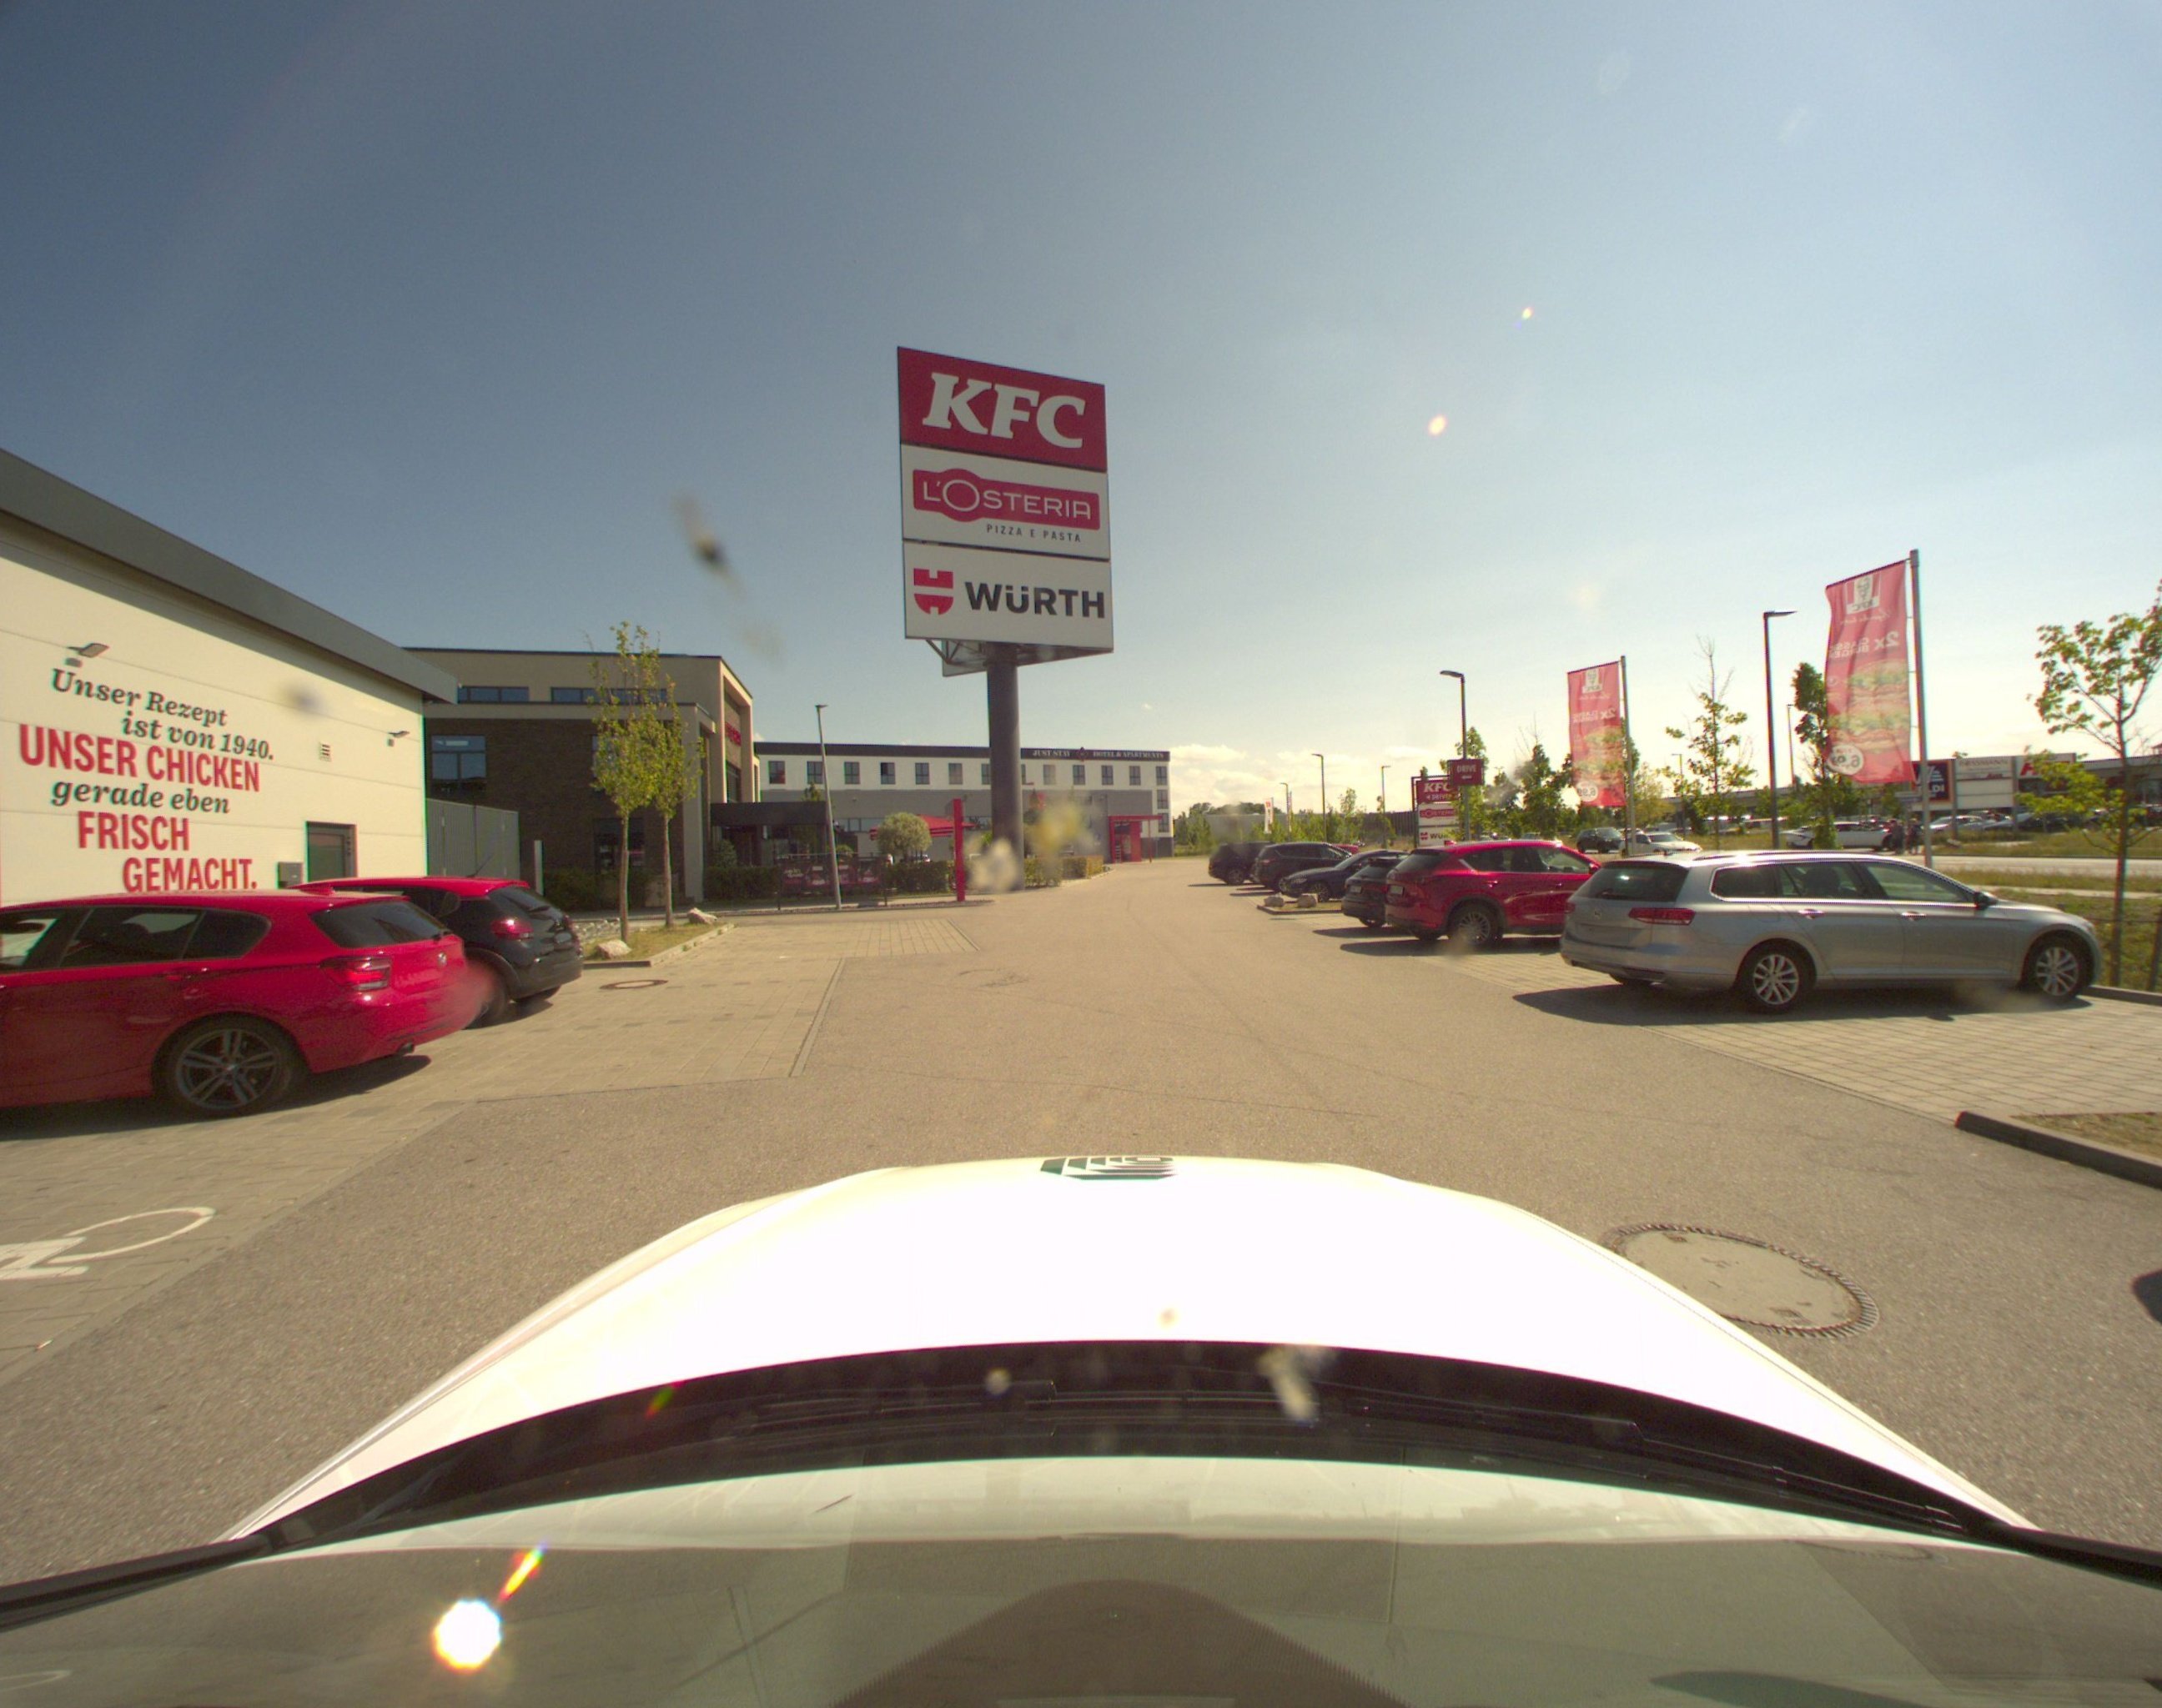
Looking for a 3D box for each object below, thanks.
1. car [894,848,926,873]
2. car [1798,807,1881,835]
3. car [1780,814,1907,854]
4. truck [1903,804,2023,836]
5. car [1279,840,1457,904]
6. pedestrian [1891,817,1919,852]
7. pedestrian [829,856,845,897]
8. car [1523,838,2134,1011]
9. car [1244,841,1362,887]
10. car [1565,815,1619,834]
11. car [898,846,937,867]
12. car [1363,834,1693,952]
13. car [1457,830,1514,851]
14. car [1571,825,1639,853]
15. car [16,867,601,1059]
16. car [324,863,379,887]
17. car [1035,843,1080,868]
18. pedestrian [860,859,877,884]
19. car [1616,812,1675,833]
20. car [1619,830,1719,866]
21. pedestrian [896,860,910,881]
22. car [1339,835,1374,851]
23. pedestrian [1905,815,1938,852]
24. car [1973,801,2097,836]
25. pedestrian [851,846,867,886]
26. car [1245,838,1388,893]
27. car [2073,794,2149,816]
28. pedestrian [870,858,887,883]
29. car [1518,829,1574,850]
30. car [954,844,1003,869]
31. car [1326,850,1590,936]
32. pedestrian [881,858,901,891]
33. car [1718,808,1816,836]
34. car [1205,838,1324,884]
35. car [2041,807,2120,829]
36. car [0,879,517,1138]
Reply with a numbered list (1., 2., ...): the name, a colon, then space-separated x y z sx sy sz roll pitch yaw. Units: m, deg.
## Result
1. car: -9.687 0.372 46.281 1.643 1.308 3.827 -2 0 -11
2. car: 61.537 -2.666 66.118 5.153 2.013 1.997 -2 1 -5
3. car: 38.531 -1.013 41.320 4.350 1.845 2.013 -2 1 31
4. truck: 57.795 -2.231 53.448 5.388 1.863 2.003 -2 1 5
5. car: 7.994 0.489 23.049 4.415 1.638 1.898 -1 0 5
6. pedestrian: 37.272 -0.889 36.838 0.620 1.556 0.669 -2 1 12
7. pedestrian: -9.319 0.851 31.109 0.525 1.505 0.566 -2 1 -17
8. car: 7.117 0.609 8.071 4.574 1.413 1.739 -1 0 -2
9. car: 8.379 0.364 30.983 4.048 1.608 1.899 -1 1 5
10. car: 58.763 -3.394 93.749 5.051 2.013 1.997 -2 1 -5
11. car: -13.012 0.201 64.662 1.957 1.585 4.340 -2 1 -25
12. car: 6.937 0.566 12.969 4.206 1.638 1.949 -1 0 -2
13. car: 31.968 -1.041 64.502 1.989 1.526 4.651 -2 1 -4
14. car: 34.116 -0.996 53.125 1.863 1.664 4.612 -2 1 7
15. car: -7.365 0.951 8.273 3.902 1.506 1.732 -1 0 -15
16. car: -52.505 1.480 58.699 1.646 1.567 3.658 -2 1 -20
17. car: -2.006 0.120 67.945 2.080 1.880 4.842 -2 1 -22
18. pedestrian: -10.404 0.861 39.871 0.710 1.198 0.663 -2 1 -22
19. car: 60.714 -3.351 87.616 5.051 2.013 1.997 -2 1 -5
20. car: 28.222 -0.315 39.296 1.982 1.526 4.669 -2 1 9
21. pedestrian: -9.258 0.859 42.433 0.574 1.089 0.545 -2 1 2
22. car: 33.111 -1.301 98.071 1.992 1.732 4.746 -2 1 -8
23. pedestrian: 37.123 -0.887 35.970 0.685 1.599 0.759 -2 1 12
24. car: 56.606 -2.110 48.400 4.693 1.846 2.004 -2 1 6
25. pedestrian: -8.513 0.445 31.223 0.525 1.505 0.566 -2 1 -17
26. car: 7.962 0.373 27.803 4.307 1.702 1.894 -1 0 -2
27. car: 83.427 -3.933 66.015 1.667 1.552 3.454 -2 1 -19
28. pedestrian: -10.182 0.844 41.060 0.707 1.198 0.615 -2 1 -6
29. car: 35.995 -1.100 63.187 1.984 1.504 4.664 -2 1 5
30. car: -6.915 0.165 54.335 1.957 1.530 4.340 -2 1 -25
31. car: 7.001 0.679 15.361 4.185 1.410 1.771 -1 0 -4
32. pedestrian: -8.042 0.877 34.514 0.654 1.366 0.476 -2 1 -39
33. car: 60.032 -2.773 71.319 6.273 2.237 2.816 -2 1 -1
34. car: 7.530 0.280 33.747 4.556 1.760 1.897 -1 0 3
35. car: 76.518 -2.724 62.410 1.667 1.552 3.454 -2 1 -19
36. car: -6.755 0.966 5.562 4.397 1.413 1.730 -1 0 -17
